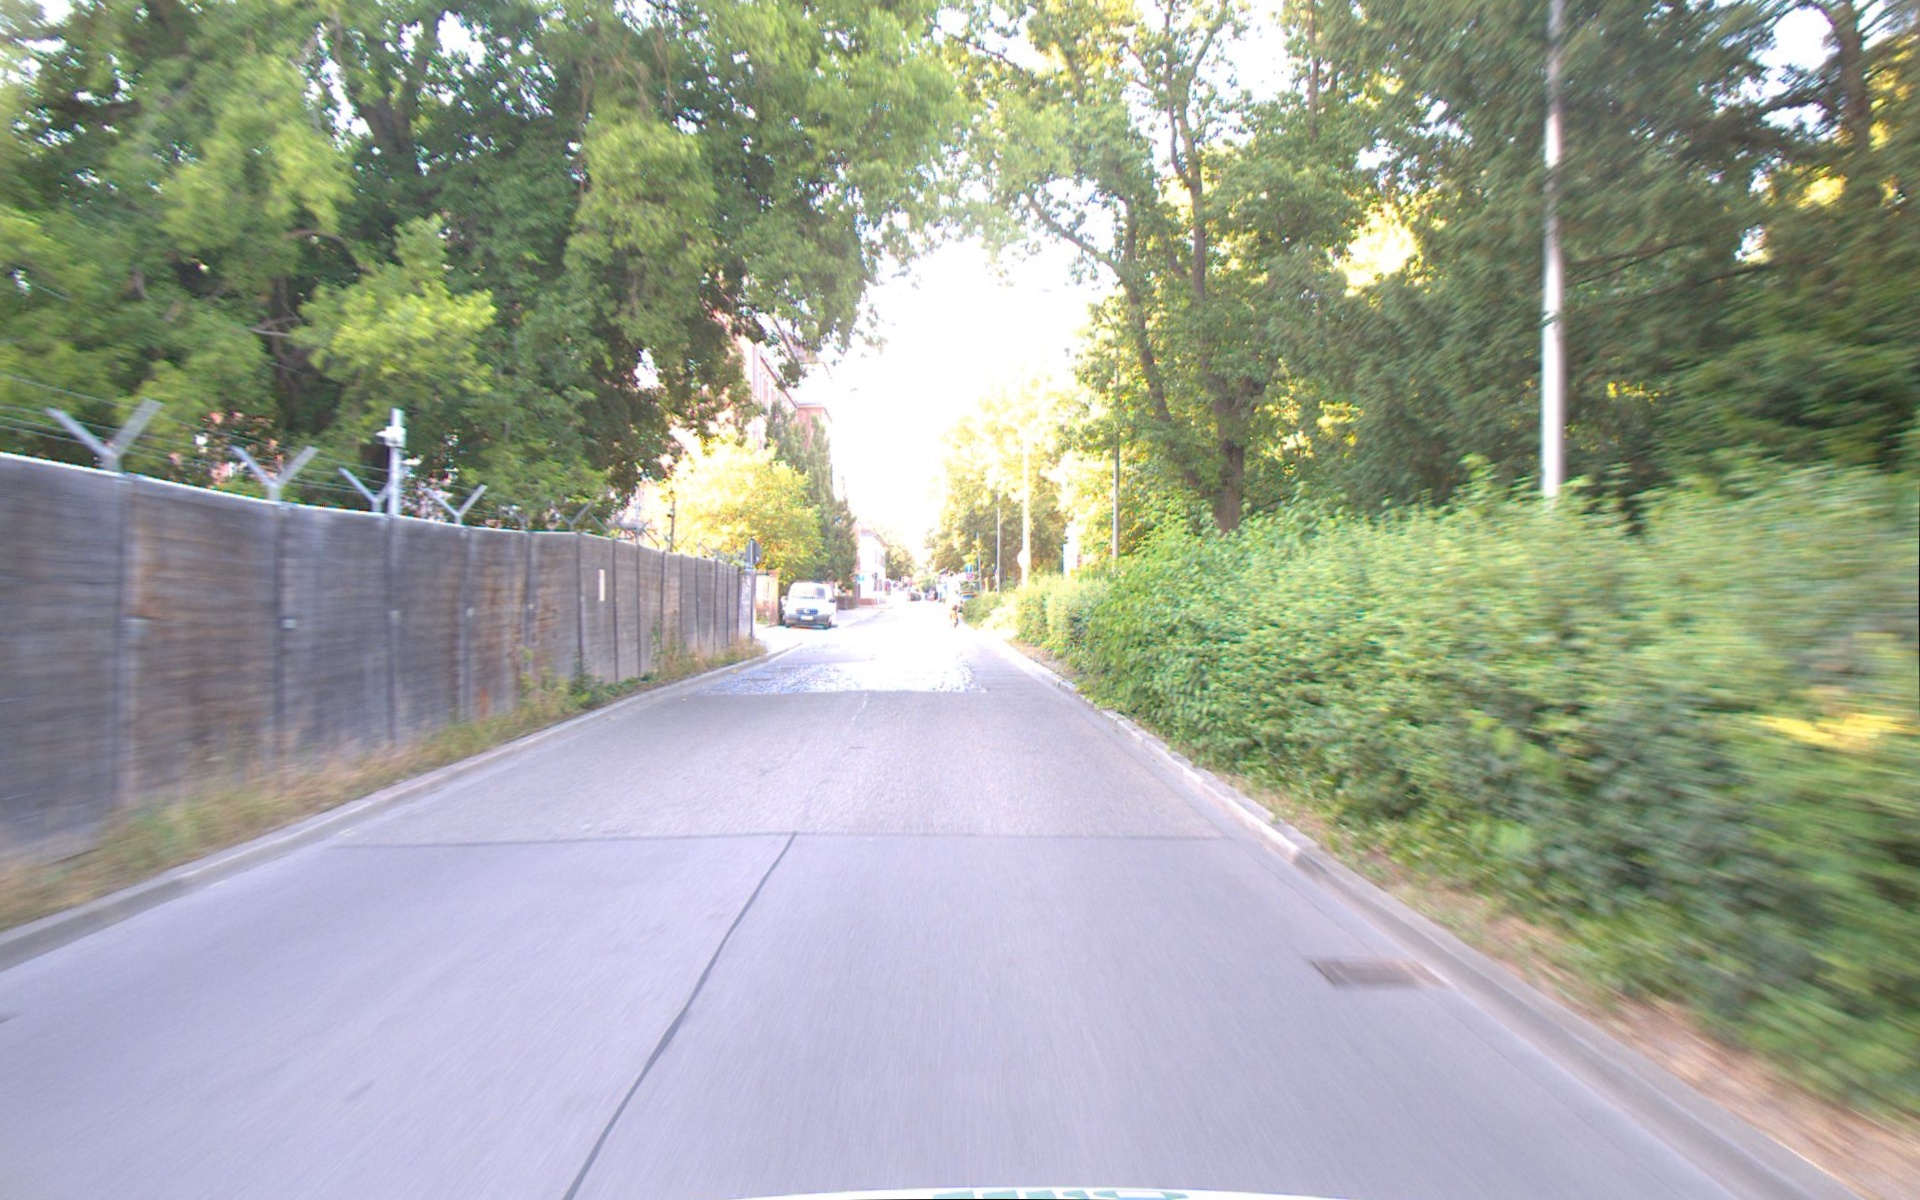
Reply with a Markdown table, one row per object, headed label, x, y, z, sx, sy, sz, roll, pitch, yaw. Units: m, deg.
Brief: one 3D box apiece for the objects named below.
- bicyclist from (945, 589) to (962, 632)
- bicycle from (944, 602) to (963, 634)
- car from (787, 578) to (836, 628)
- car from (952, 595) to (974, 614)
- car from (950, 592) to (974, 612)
| label | x | y | z | sx | sy | sz | roll | pitch | yaw |
| --- | --- | --- | --- | --- | --- | --- | --- | --- | --- |
| bicyclist | -0.265 | 0.403 | 65.660 | 0.626 | 1.696 | 0.842 | 1 | 0 | -3 |
| bicycle | -0.269 | 0.707 | 65.650 | 0.625 | 1.214 | 1.875 | 1 | 0 | -3 |
| car | -6.312 | 0.161 | 70.898 | 1.845 | 2.049 | 5.222 | 1 | -1 | -3 |
| car | 0.243 | 0.381 | 144.359 | 1.681 | 1.564 | 4.046 | -1 | 0 | -3 |
| car | 0.137 | 0.163 | 130.782 | 1.652 | 1.472 | 3.669 | -3 | -1 | -3 |
